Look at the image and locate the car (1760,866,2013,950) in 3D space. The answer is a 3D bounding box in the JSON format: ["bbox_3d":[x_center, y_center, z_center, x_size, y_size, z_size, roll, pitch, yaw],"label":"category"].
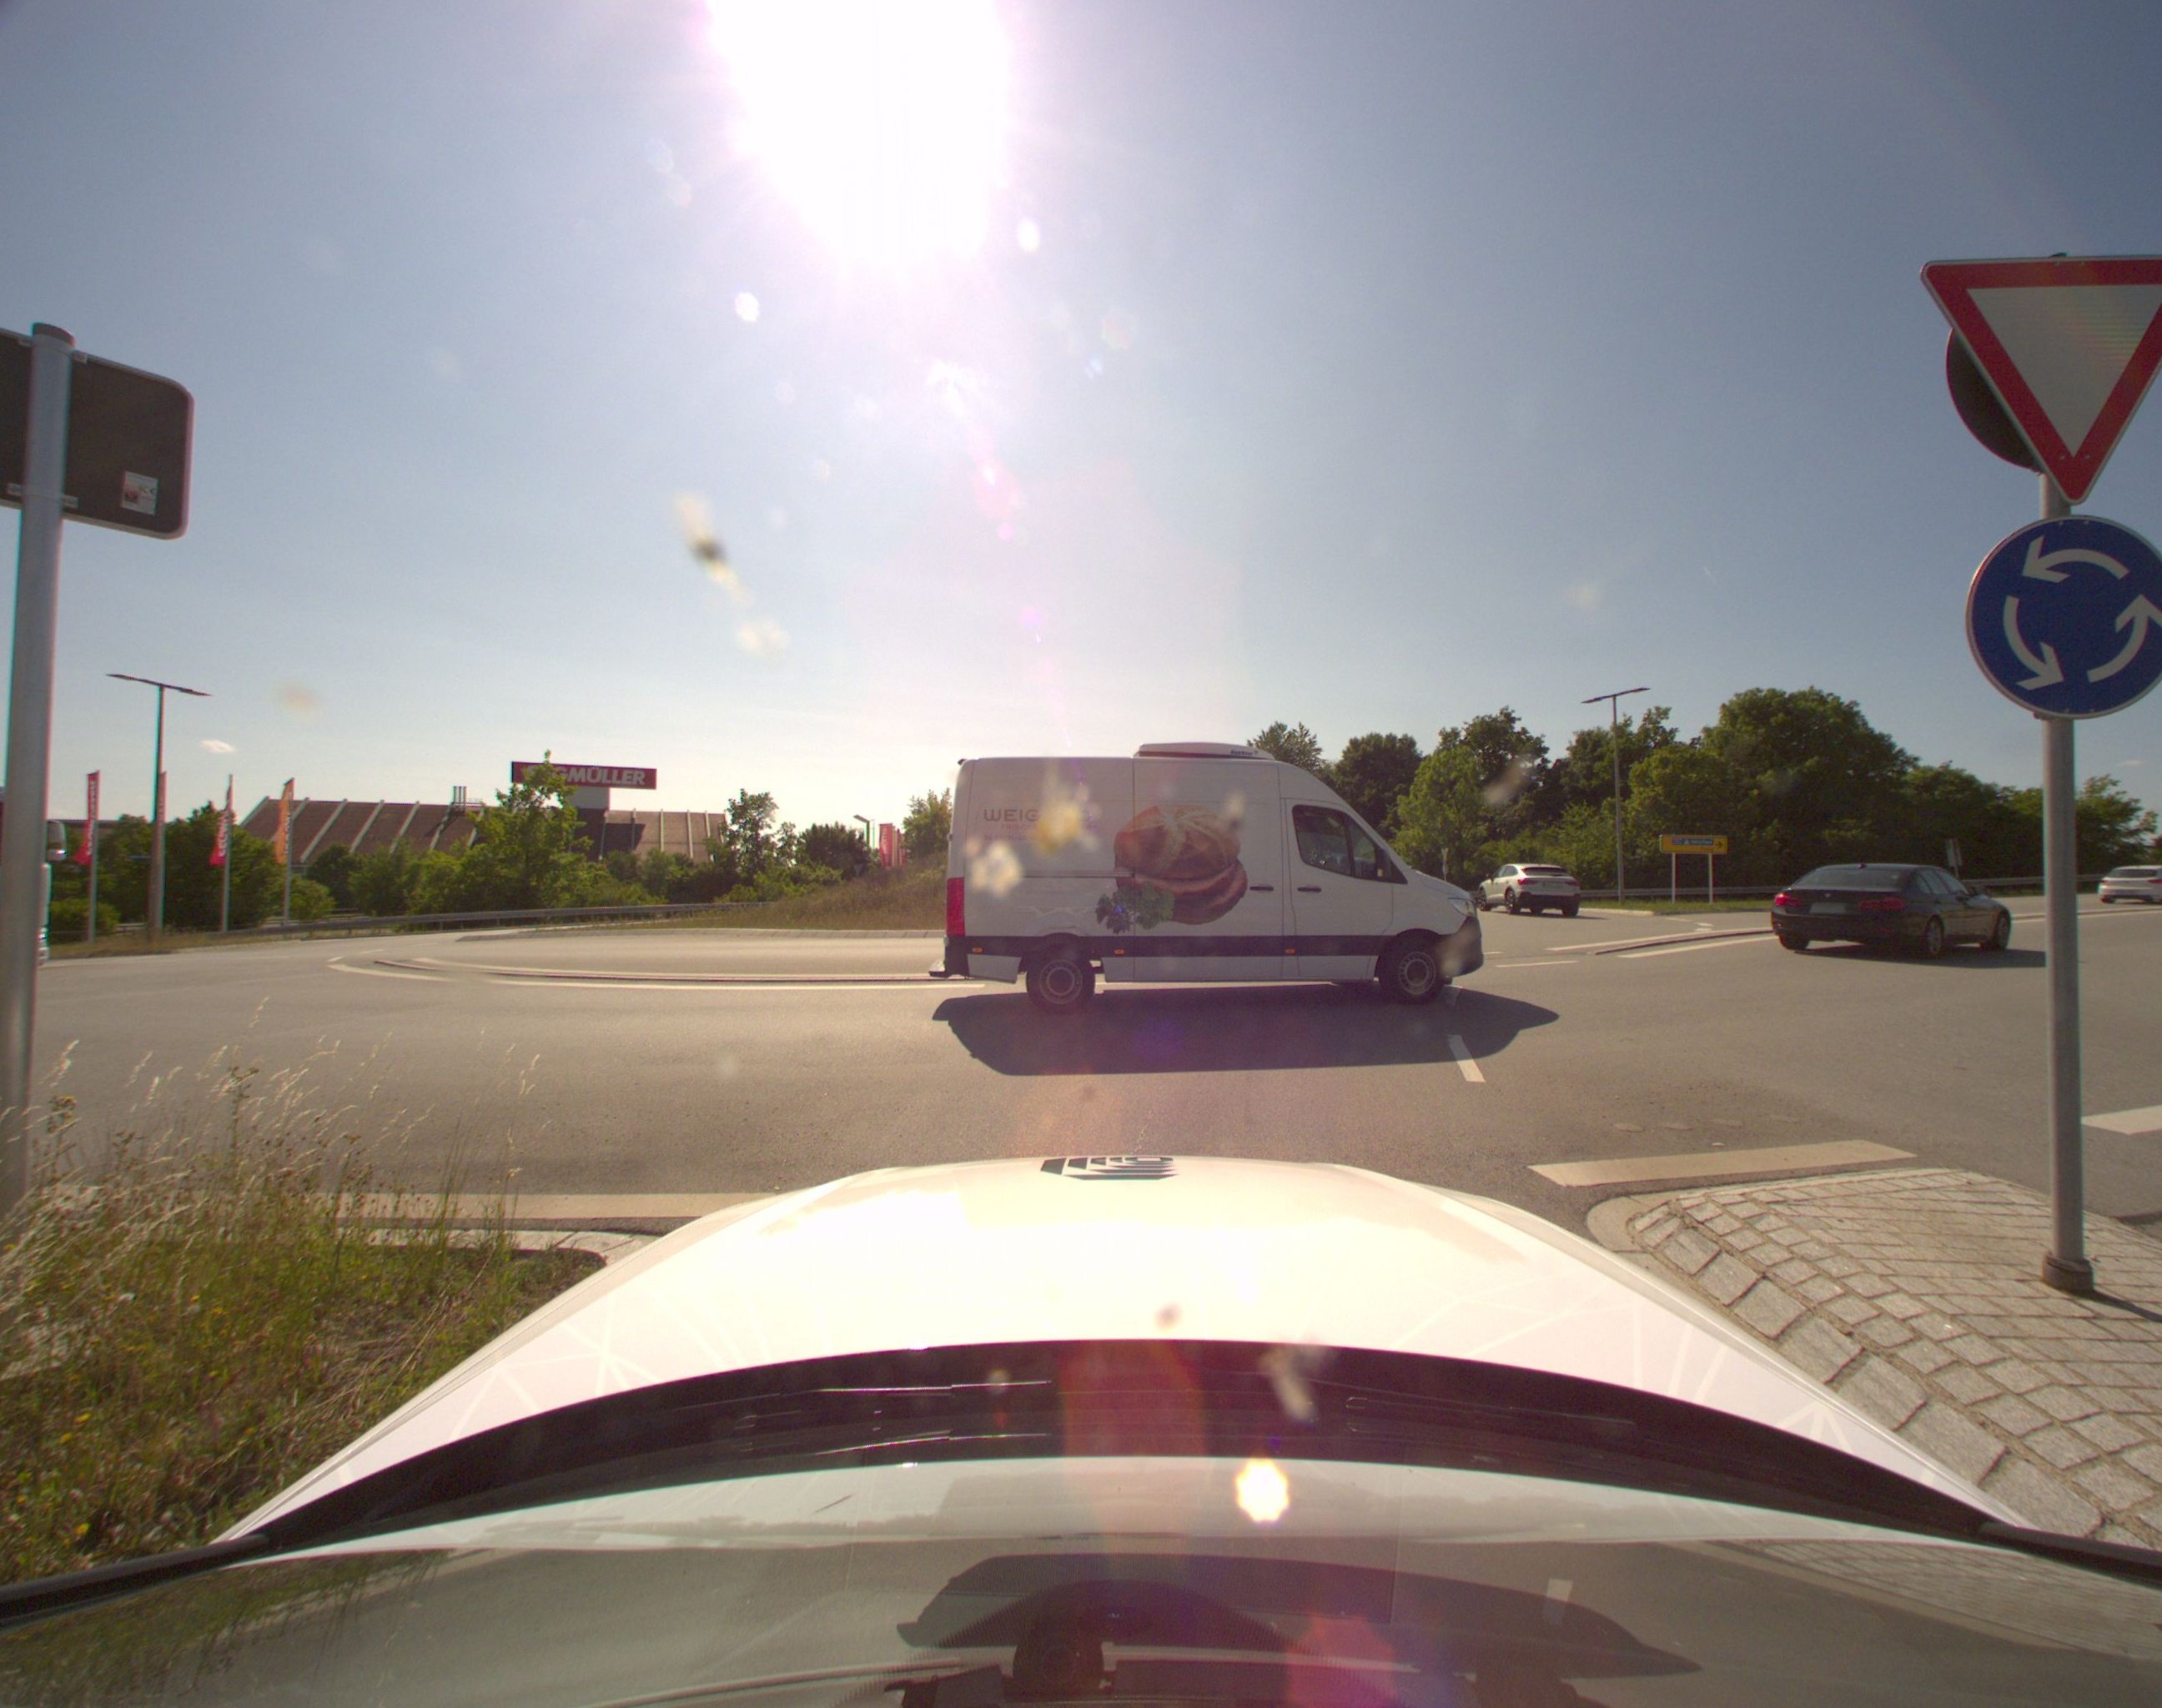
[{"bbox_3d":[13.038,0.796,13.176,3.871,1.182,1.663,0,-1,-25],"label":"car"}]

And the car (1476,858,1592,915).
[{"bbox_3d":[13.801,0.944,25.101,1.829,1.596,4.338,-1,-1,11],"label":"car"}]

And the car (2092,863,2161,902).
[{"bbox_3d":[40.825,1.065,30.709,4.410,1.405,1.782,0,-1,-15],"label":"car"}]

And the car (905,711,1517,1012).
[{"bbox_3d":[1.305,0.059,9.133,6.103,2.921,2.082,-1,-1,-3],"label":"car"}]

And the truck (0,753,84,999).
[{"bbox_3d":[-21.289,0.404,13.891,6.371,4.107,2.671,-1,-1,11],"label":"truck"}]
